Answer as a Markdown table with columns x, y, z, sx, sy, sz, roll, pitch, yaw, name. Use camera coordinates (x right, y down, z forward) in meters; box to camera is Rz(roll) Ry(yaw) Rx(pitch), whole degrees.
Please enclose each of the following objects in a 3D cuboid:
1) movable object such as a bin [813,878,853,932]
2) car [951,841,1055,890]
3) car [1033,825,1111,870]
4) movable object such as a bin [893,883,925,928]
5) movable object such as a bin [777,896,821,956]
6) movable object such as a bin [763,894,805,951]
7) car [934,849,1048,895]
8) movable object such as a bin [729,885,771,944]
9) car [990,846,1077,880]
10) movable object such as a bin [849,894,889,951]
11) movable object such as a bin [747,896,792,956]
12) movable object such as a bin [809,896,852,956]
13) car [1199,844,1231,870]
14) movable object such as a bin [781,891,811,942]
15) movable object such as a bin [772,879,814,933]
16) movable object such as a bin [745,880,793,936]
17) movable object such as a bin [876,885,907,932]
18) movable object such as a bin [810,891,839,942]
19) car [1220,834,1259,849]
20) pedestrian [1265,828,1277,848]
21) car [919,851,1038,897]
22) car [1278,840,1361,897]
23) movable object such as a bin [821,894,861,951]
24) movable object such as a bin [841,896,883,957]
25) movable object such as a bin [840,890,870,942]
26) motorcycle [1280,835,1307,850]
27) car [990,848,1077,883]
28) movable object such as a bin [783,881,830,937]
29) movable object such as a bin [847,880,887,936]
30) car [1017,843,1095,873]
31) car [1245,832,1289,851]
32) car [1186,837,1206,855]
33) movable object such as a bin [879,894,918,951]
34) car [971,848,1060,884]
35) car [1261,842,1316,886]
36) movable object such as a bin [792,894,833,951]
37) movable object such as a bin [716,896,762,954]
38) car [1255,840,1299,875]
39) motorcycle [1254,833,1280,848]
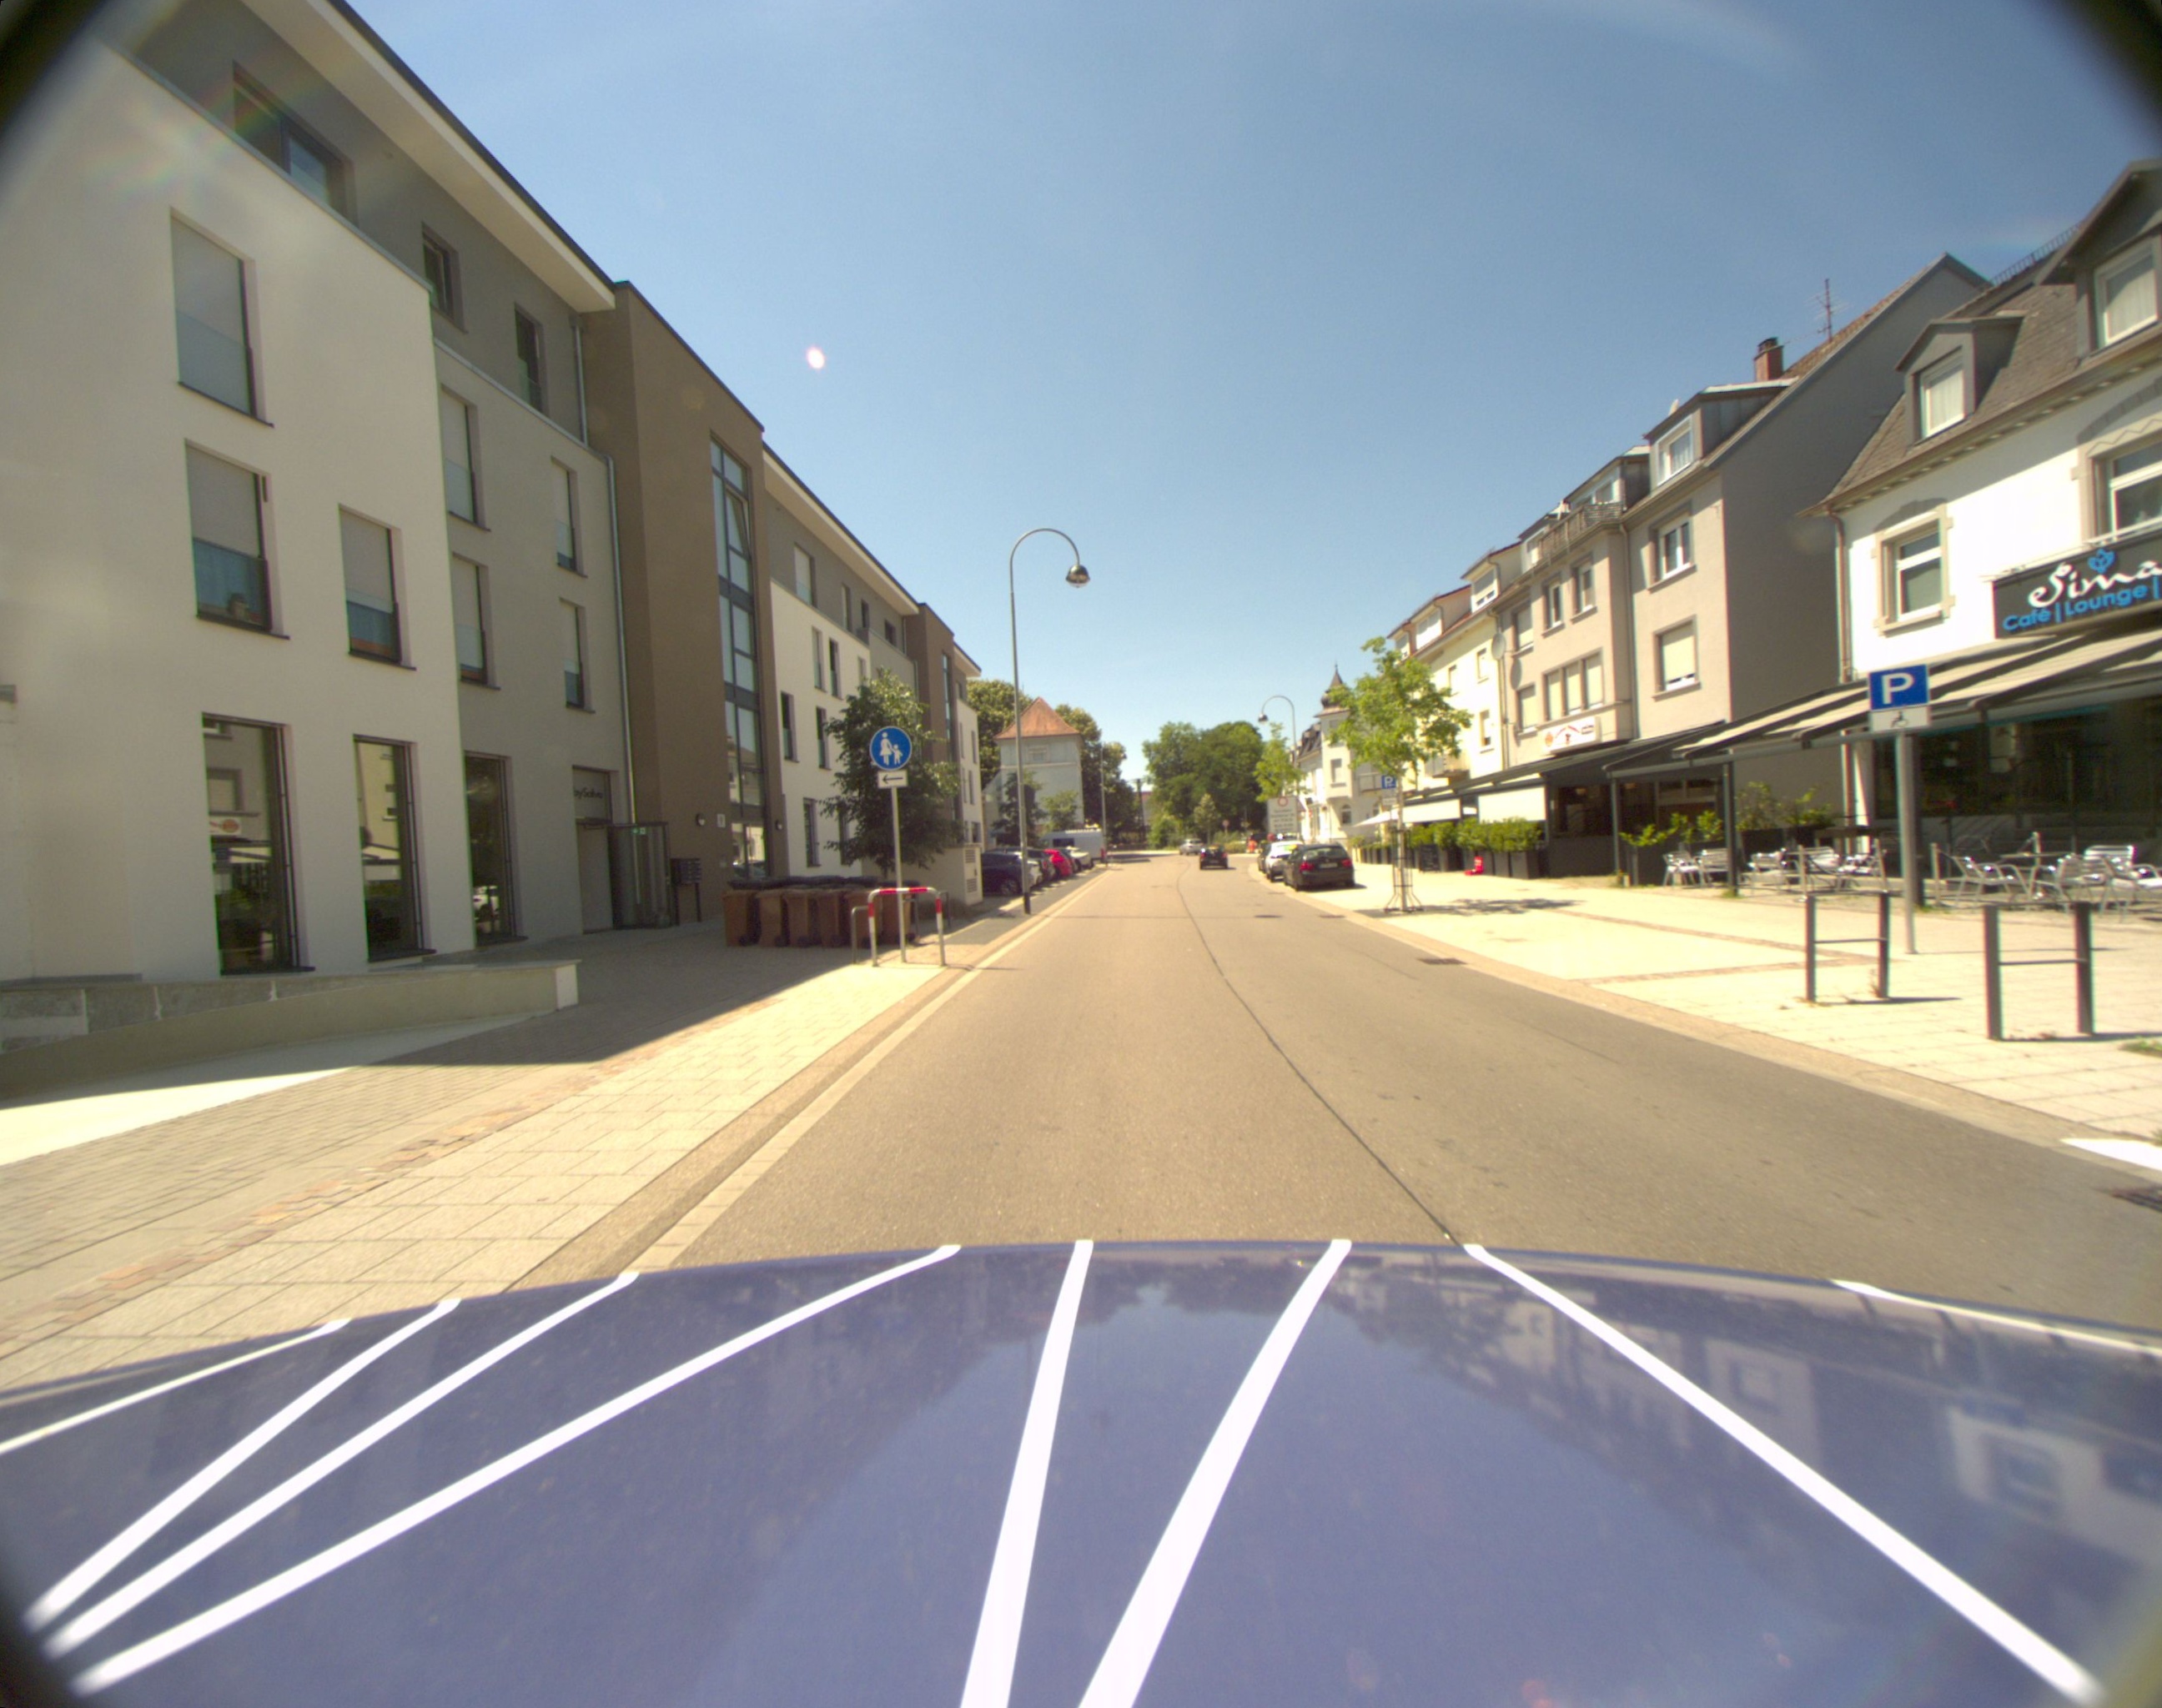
| x | y | z | sx | sy | sz | roll | pitch | yaw | name |
| --- | --- | --- | --- | --- | --- | --- | --- | --- | --- |
| -5.128 | 1.054 | 15.756 | 0.648 | 1.054 | 0.625 | -1 | 1 | -7 | movable object such as a bin |
| -3.044 | 0.434 | 30.362 | 3.817 | 1.776 | 1.841 | -2 | 1 | 3 | car |
| -0.571 | -0.455 | 50.034 | 4.865 | 2.720 | 1.851 | -2 | 1 | 5 | car |
| -3.668 | 1.089 | 16.243 | 0.562 | 0.926 | 0.465 | -1 | 1 | -1 | movable object such as a bin |
| -4.631 | 1.177 | 12.496 | 0.474 | 0.925 | 0.528 | -1 | 1 | 5 | movable object such as a bin |
| -5.134 | 1.174 | 13.144 | 0.466 | 0.925 | 0.522 | -1 | 1 | 5 | movable object such as a bin |
| -3.215 | 0.640 | 27.658 | 3.817 | 1.474 | 1.778 | -2 | 1 | 3 | car |
| -6.156 | 1.109 | 14.137 | 0.571 | 1.036 | 0.560 | -1 | 1 | -9 | movable object such as a bin |
| -2.437 | 0.445 | 39.668 | 4.357 | 1.542 | 1.652 | -2 | 1 | 2 | car |
| -3.614 | 1.160 | 12.987 | 0.468 | 0.925 | 0.528 | -1 | 1 | 5 | movable object such as a bin |
| -5.136 | 1.179 | 12.561 | 0.474 | 0.925 | 0.528 | -1 | 1 | 5 | movable object such as a bin |
| -4.103 | 1.170 | 12.452 | 0.474 | 0.925 | 0.528 | -1 | 1 | 5 | movable object such as a bin |
| 7.884 | 0.150 | 44.453 | 1.618 | 1.445 | 3.867 | -1 | 1 | 14 | car |
| -5.384 | 1.177 | 14.381 | 0.483 | 0.918 | 0.437 | -1 | 1 | -17 | movable object such as a bin |
| -5.990 | 1.072 | 15.830 | 0.648 | 1.054 | 0.625 | -1 | 1 | -7 | movable object such as a bin |
| -6.195 | 1.065 | 15.114 | 0.647 | 1.054 | 0.625 | -1 | 1 | 6 | movable object such as a bin |
| -3.903 | 1.112 | 15.677 | 0.513 | 0.926 | 0.465 | -1 | 1 | -1 | movable object such as a bin |
| -4.862 | 1.172 | 14.425 | 0.483 | 0.918 | 0.437 | -1 | 1 | -17 | movable object such as a bin |
| 17.761 | -1.365 | 85.222 | 3.945 | 1.528 | 1.832 | -3 | 1 | -29 | car |
| 16.964 | -1.442 | 67.726 | 0.758 | 1.756 | 0.802 | -2 | 1 | -5 | pedestrian |
| -3.391 | 0.663 | 25.451 | 3.664 | 1.437 | 1.535 | -1 | 1 | 7 | car |
| 7.527 | 0.385 | 24.368 | 1.757 | 1.437 | 4.450 | -5 | 1 | 8 | car |
| -4.116 | 1.169 | 13.042 | 0.466 | 0.925 | 0.522 | -1 | 1 | 5 | movable object such as a bin |
| -3.564 | 1.173 | 12.397 | 0.474 | 0.925 | 0.528 | -1 | 1 | 5 | movable object such as a bin |
| -4.269 | 1.161 | 14.373 | 0.517 | 0.918 | 0.437 | -1 | 1 | -17 | movable object such as a bin |
| 19.484 | -1.069 | 69.767 | 2.321 | 1.317 | 0.726 | -2 | 1 | 8 | motorcycle |
| -2.192 | 0.529 | 35.571 | 3.816 | 1.454 | 1.652 | -2 | 1 | 4 | car |
| -5.442 | 1.087 | 15.103 | 0.647 | 1.054 | 0.625 | -1 | 1 | 6 | movable object such as a bin |
| -4.261 | 1.069 | 15.163 | 0.570 | 1.054 | 0.560 | -1 | 1 | 6 | movable object such as a bin |
| -1.466 | 0.233 | 45.281 | 4.380 | 1.520 | 1.720 | -3 | 1 | 5 | car |
| 18.352 | -1.262 | 75.261 | 4.076 | 1.729 | 1.815 | -2 | 1 | 10 | car |
| 10.471 | -0.793 | 69.318 | 1.684 | 1.475 | 4.087 | -3 | 1 | 9 | car |
| -3.098 | 1.158 | 12.921 | 0.474 | 0.925 | 0.528 | -1 | 1 | 5 | movable object such as a bin |
| -2.818 | 0.525 | 33.274 | 3.616 | 1.454 | 1.617 | -1 | 1 | 4 | car |
| 8.074 | 0.340 | 29.824 | 1.684 | 1.475 | 3.770 | -4 | 1 | 10 | car |
| -4.607 | 1.169 | 13.069 | 0.466 | 0.925 | 0.522 | -1 | 1 | 5 | movable object such as a bin |
| -5.736 | 1.185 | 12.752 | 0.474 | 0.925 | 0.528 | -1 | 1 | 5 | movable object such as a bin |
| 9.474 | 0.137 | 36.947 | 1.684 | 1.475 | 4.342 | -4 | 0 | 10 | car |
| 17.893 | -1.265 | 73.084 | 2.321 | 1.317 | 0.726 | -2 | 1 | 8 | motorcycle |
